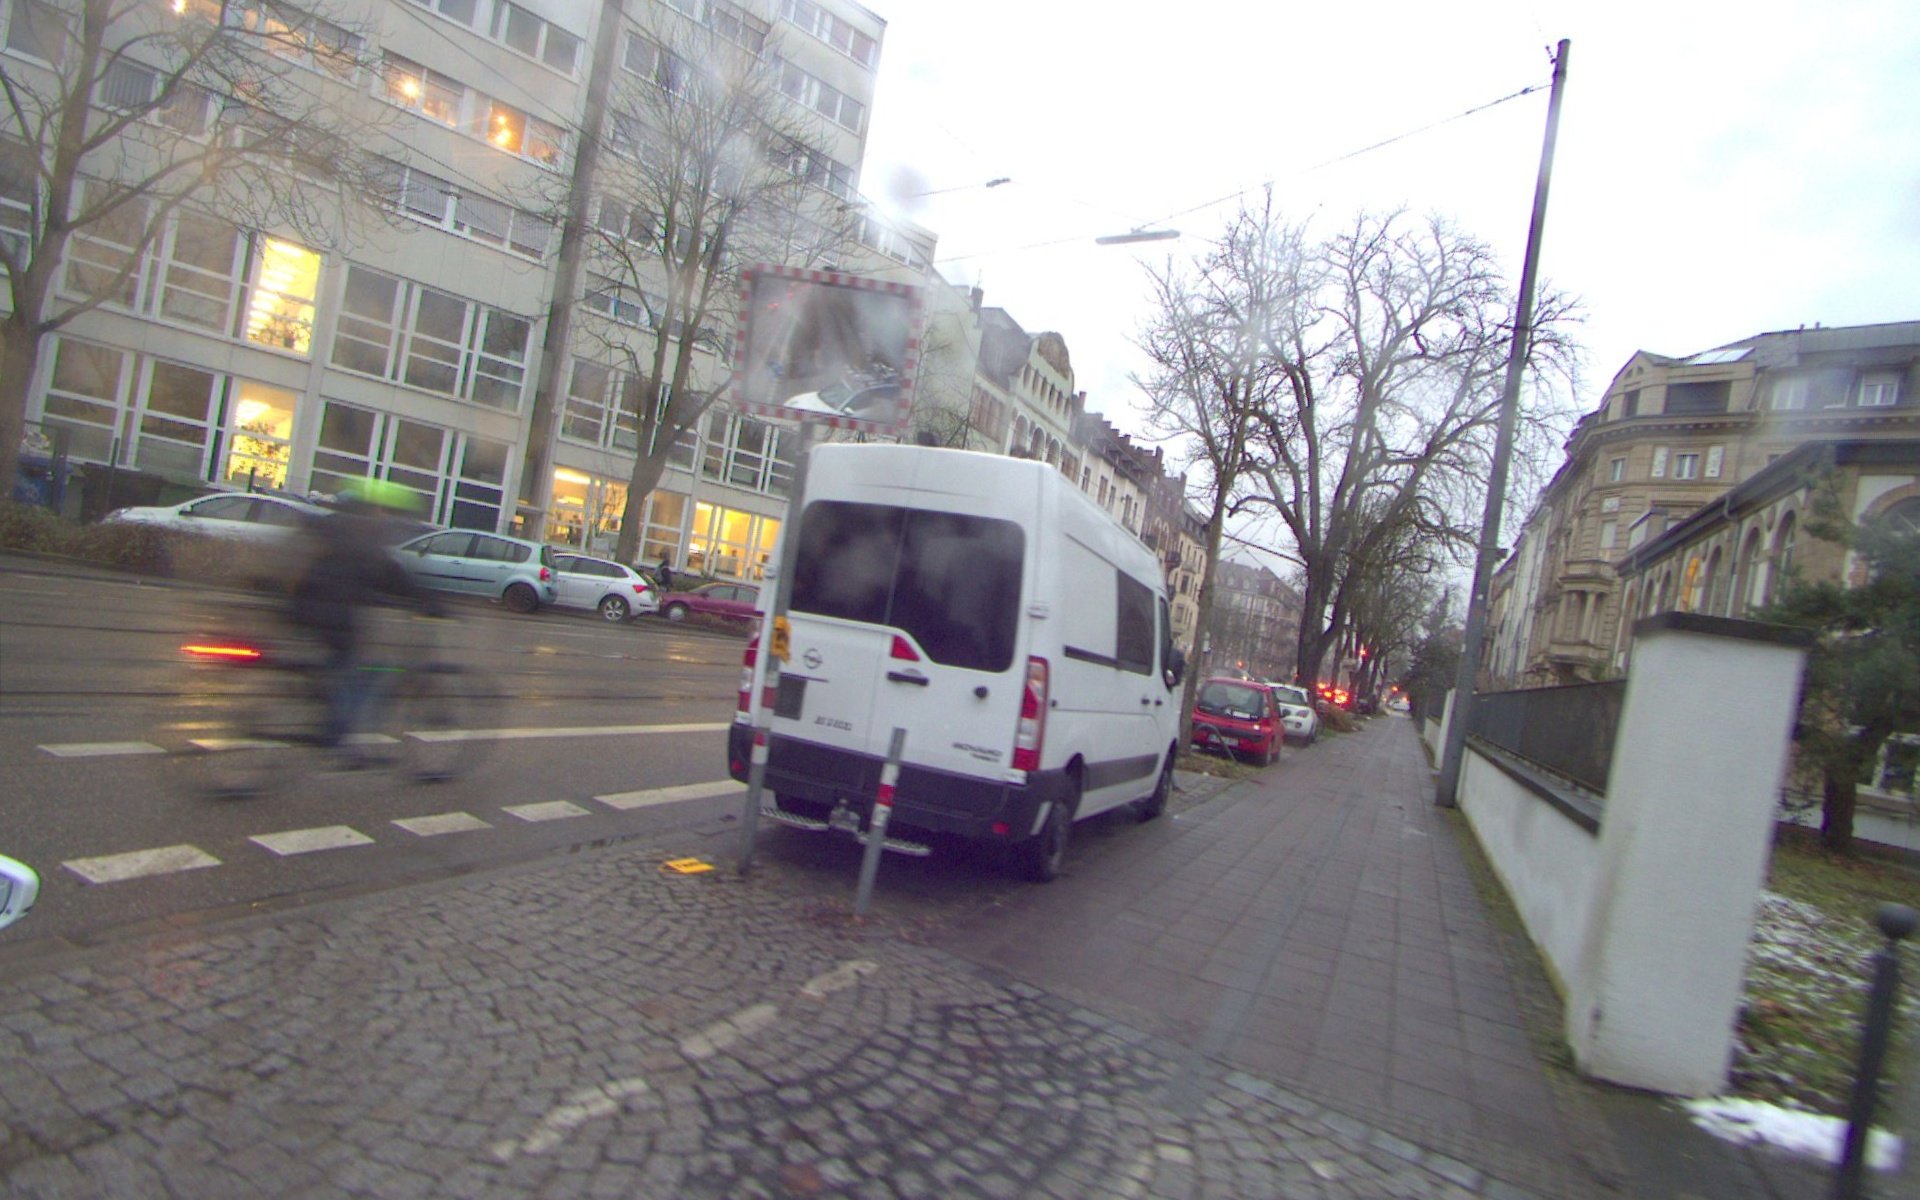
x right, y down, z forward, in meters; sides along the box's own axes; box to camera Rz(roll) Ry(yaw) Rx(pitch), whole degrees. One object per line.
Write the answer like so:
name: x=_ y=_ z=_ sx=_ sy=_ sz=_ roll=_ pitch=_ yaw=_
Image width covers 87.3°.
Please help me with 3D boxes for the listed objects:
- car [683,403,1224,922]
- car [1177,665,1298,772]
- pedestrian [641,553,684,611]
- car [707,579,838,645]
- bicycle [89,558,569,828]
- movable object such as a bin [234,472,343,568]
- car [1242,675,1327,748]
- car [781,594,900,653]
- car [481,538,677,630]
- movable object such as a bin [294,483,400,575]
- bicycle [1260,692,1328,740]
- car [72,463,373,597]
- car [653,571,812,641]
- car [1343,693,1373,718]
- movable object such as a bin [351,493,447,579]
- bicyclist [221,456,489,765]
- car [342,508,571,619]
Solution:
car: x=0.513 y=0.444 z=8.040 sx=2.092 sy=2.516 sz=5.440 roll=9 pitch=-1 yaw=22
car: x=5.355 y=2.181 z=19.131 sx=1.618 sy=1.541 sz=3.573 roll=10 pitch=0 yaw=22
pedestrian: x=-9.492 y=-0.560 z=32.117 sx=0.588 sy=1.697 sz=0.973 roll=9 pitch=0 yaw=24
car: x=-6.106 y=0.399 z=32.886 sx=3.936 sy=1.480 sz=1.734 roll=10 pitch=-2 yaw=-10
bicycle: x=-3.252 y=0.489 z=5.463 sx=0.697 sy=1.109 sz=2.028 roll=9 pitch=0 yaw=27
movable object such as a bin: x=-15.485 y=-1.829 z=23.225 sx=1.547 sy=1.883 sz=1.317 roll=9 pitch=1 yaw=26
car: x=8.764 y=2.943 z=26.993 sx=1.666 sy=1.537 sz=3.638 roll=9 pitch=-1 yaw=23
car: x=-4.276 y=0.830 z=36.012 sx=3.802 sy=1.440 sz=1.728 roll=10 pitch=0 yaw=-21
car: x=-9.005 y=-0.347 z=24.068 sx=3.934 sy=1.460 sz=1.735 roll=10 pitch=-1 yaw=-9
movable object such as a bin: x=-14.909 y=-1.715 z=24.494 sx=1.547 sy=1.883 sz=1.392 roll=9 pitch=1 yaw=26
bicycle: x=9.738 y=3.369 z=29.307 sx=1.688 sy=1.084 sz=0.663 roll=9 pitch=0 yaw=25
car: x=-12.874 y=-1.180 z=17.864 sx=3.825 sy=1.570 sz=1.685 roll=10 pitch=0 yaw=-20
car: x=-6.801 y=0.170 z=30.103 sx=4.295 sy=1.367 sz=1.740 roll=10 pitch=-1 yaw=-24
car: x=28.219 y=7.456 z=71.288 sx=1.652 sy=1.476 sz=4.043 roll=9 pitch=-1 yaw=24
movable object such as a bin: x=-14.329 y=-1.625 z=25.713 sx=1.547 sy=1.883 sz=1.317 roll=9 pitch=1 yaw=26
bicyclist: x=-3.215 y=0.069 z=5.393 sx=0.646 sy=1.463 sz=0.849 roll=9 pitch=0 yaw=27
car: x=-10.519 y=-0.743 z=21.336 sx=3.943 sy=1.582 sz=1.730 roll=10 pitch=0 yaw=-17
